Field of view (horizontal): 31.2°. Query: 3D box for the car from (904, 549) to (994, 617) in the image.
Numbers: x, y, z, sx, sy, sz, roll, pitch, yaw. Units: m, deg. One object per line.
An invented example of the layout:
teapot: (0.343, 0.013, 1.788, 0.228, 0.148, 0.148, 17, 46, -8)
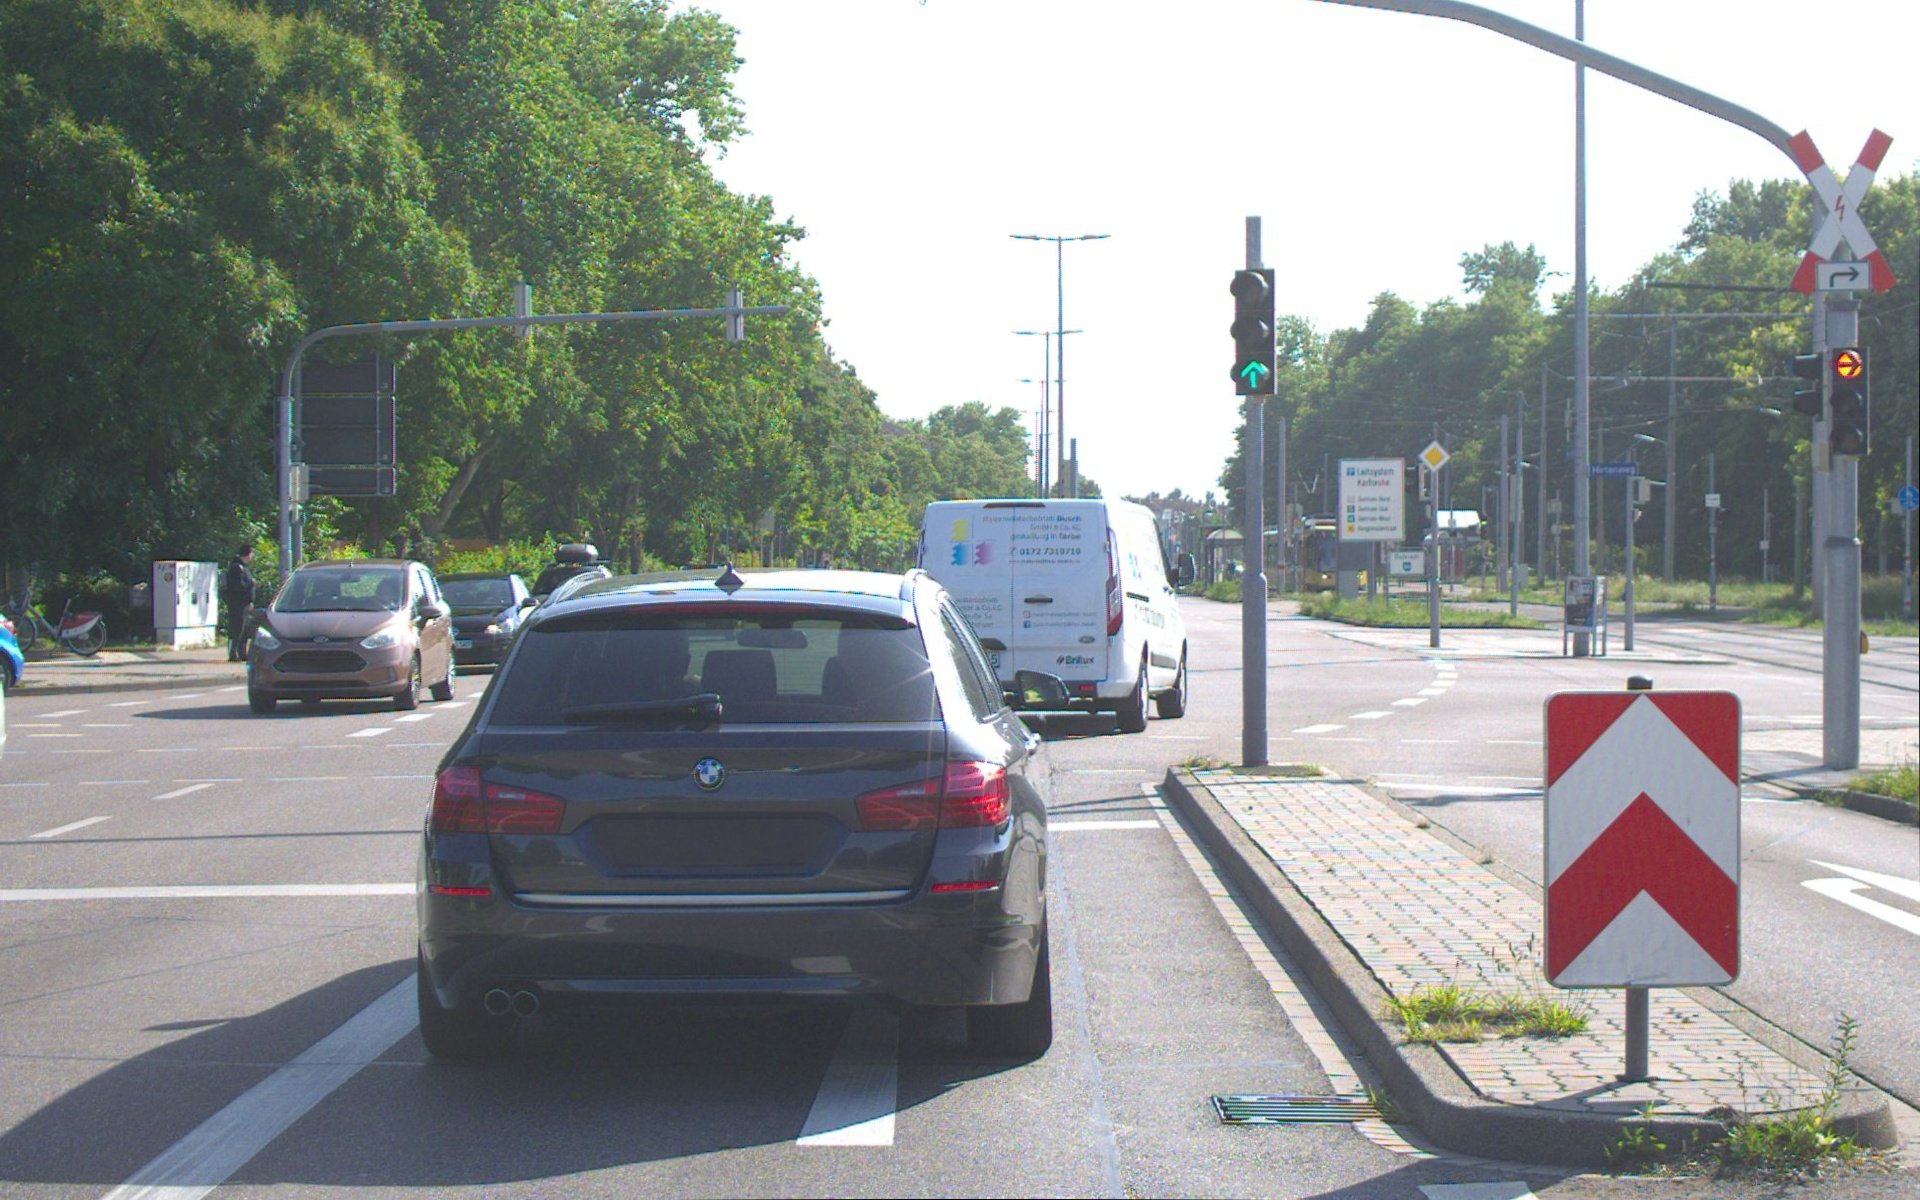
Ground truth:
car: (-0.208, -0.400, 75.913, 1.829, 1.426, 4.731, -1, 1, 1)

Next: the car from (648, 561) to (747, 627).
car: (-6.898, -0.178, 90.767, 1.989, 1.653, 4.384, -1, 1, 4)

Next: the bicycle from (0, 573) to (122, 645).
bicycle: (-14.097, 0.138, 53.617, 1.909, 1.115, 0.632, 0, 1, 0)

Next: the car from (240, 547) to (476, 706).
car: (-6.359, 0.241, 36.712, 1.745, 1.556, 4.000, -2, 1, 0)

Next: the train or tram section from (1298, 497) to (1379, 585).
train or tram section: (16.288, -2.460, 148.631, 2.796, 3.606, 12.954, 1, 0, 3)

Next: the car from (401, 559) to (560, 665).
car: (-6.980, 0.145, 50.404, 1.888, 1.469, 4.100, -1, 1, -2)

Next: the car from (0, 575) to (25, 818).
car: (-6.681, 0.632, 19.082, 1.702, 1.460, 4.369, -2, 1, 1)

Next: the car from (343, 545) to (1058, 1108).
car: (-0.682, 0.576, 11.184, 1.903, 1.500, 4.065, 0, 1, 0)

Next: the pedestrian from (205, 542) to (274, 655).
pedestrian: (-11.235, -0.034, 53.651, 0.816, 1.746, 0.931, 0, 1, 5)

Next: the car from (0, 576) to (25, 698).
car: (-12.967, 0.445, 39.210, 1.783, 1.410, 4.235, 1, 1, 37)

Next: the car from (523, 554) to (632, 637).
car: (-7.314, -0.104, 66.033, 1.788, 1.515, 4.000, -1, 1, -2)

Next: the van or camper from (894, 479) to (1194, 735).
van or camper: (0.839, 0.025, 30.470, 1.994, 2.089, 4.596, 0, 1, 10)
